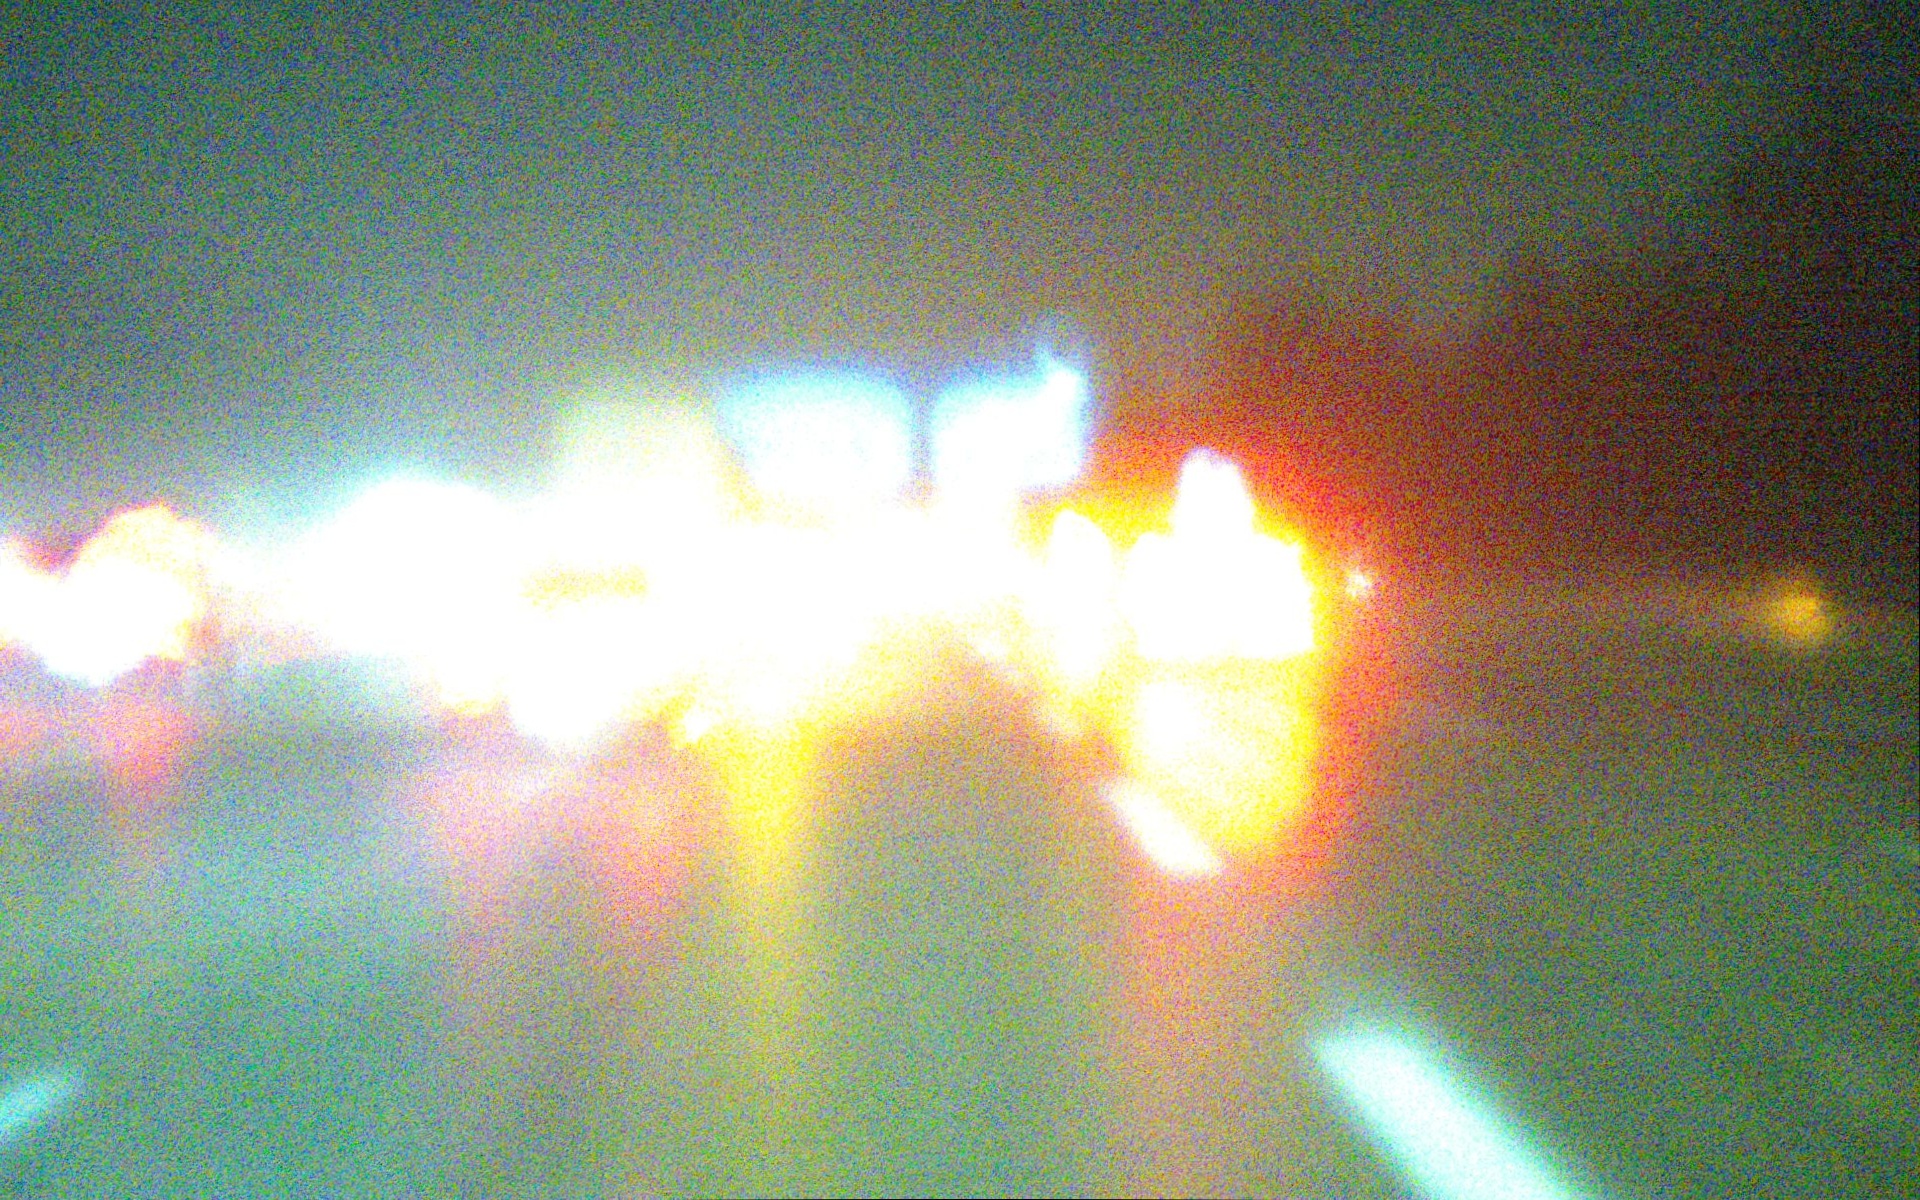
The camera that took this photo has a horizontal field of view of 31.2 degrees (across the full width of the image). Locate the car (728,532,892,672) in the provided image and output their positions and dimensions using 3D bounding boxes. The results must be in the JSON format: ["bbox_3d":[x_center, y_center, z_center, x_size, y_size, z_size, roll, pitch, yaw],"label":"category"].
[{"bbox_3d":[-1.954,0.003,46.093,2.039,1.755,4.516,1,0,-1],"label":"car"}]

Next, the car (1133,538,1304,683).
[{"bbox_3d":[3.294,0.112,44.449,1.878,1.756,4.000,1,0,0],"label":"car"}]

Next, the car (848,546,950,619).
[{"bbox_3d":[-1.710,-0.508,99.194,2.833,2.007,5.510,1,0,0],"label":"car"}]

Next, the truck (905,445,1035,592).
[{"bbox_3d":[0.290,-2.957,127.779,4.161,5.197,9.955,1,0,-3],"label":"truck"}]

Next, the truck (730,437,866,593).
[{"bbox_3d":[-5.853,-3.018,126.379,4.254,5.425,10.884,1,0,1],"label":"truck"}]

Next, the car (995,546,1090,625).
[{"bbox_3d":[1.830,-0.329,77.671,1.993,1.698,4.458,1,0,0],"label":"car"}]

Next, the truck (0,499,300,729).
[{"bbox_3d":[-8.799,0.104,36.194,2.857,2.193,5.859,1,0,-3],"label":"truck"}]

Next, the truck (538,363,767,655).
[{"bbox_3d":[-5.419,-1.525,61.034,3.655,4.721,9.854,1,0,-5],"label":"truck"}]

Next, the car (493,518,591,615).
[{"bbox_3d":[-10.143,-0.810,83.464,2.263,2.265,5.387,1,0,-7],"label":"car"}]

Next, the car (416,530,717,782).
[{"bbox_3d":[-2.809,0.342,25.292,1.765,1.683,4.000,0,1,0],"label":"car"}]
